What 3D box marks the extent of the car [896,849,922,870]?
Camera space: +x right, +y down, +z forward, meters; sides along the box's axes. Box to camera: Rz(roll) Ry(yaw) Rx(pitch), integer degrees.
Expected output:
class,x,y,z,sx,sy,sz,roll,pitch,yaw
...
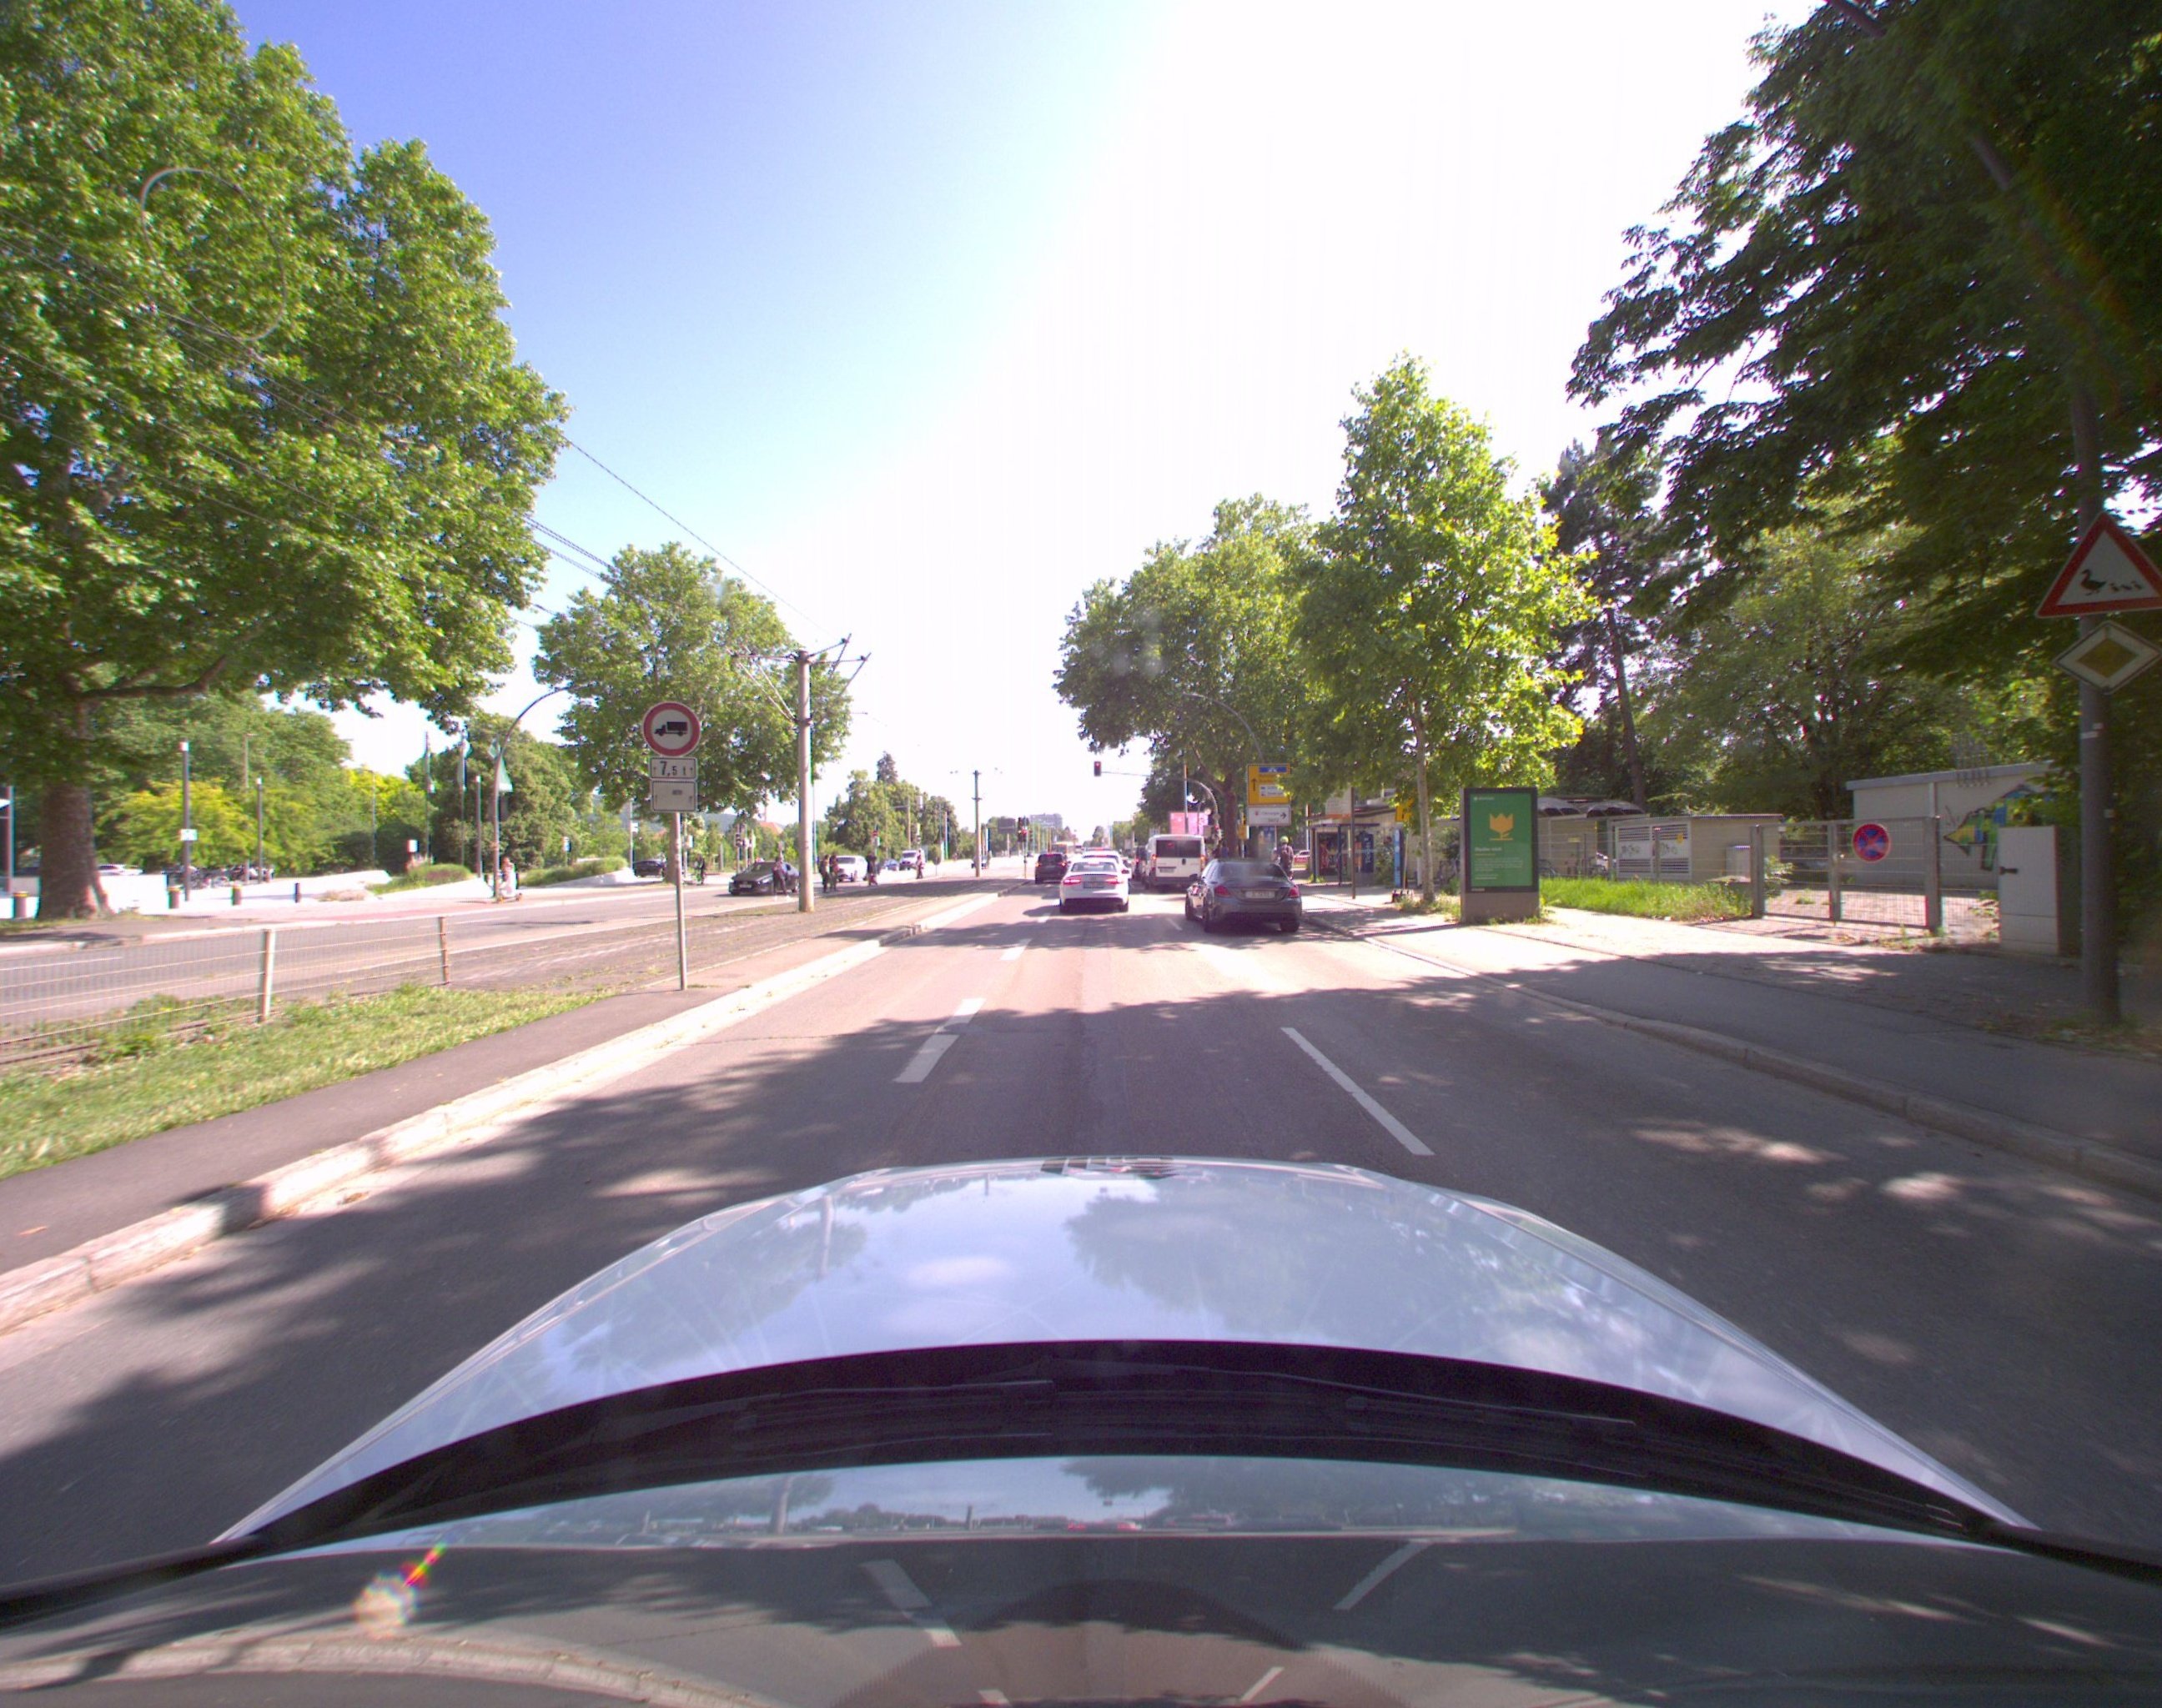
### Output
class,x,y,z,sx,sy,sz,roll,pitch,yaw
car,-20.172,0.643,95.509,2.106,2.383,4.002,-1,0,2

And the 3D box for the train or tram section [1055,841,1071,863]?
class,x,y,z,sx,sy,sz,roll,pitch,yaw
train or tram section,-3.426,-0.327,154.765,2.607,4.015,7.752,0,0,2

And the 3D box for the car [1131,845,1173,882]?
class,x,y,z,sx,sy,sz,roll,pitch,yaw
car,3.934,0.498,45.710,2.064,1.999,4.059,0,0,1

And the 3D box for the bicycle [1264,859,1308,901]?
class,x,y,z,sx,sy,sz,roll,pitch,yaw
bicycle,6.105,0.746,24.381,0.712,1.148,2.178,-3,0,0

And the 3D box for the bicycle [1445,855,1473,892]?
class,x,y,z,sx,sy,sz,roll,pitch,yaw
bicycle,12.294,0.613,26.510,0.388,1.180,1.174,0,0,2

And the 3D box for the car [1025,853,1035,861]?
class,x,y,z,sx,sy,sz,roll,pitch,yaw
car,-11.849,0.697,189.647,1.987,1.641,3.999,0,0,0

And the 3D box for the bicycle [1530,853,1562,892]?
class,x,y,z,sx,sy,sz,roll,pitch,yaw
bicycle,14.704,0.572,25.773,0.388,1.180,1.174,0,0,2

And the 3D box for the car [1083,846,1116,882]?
class,x,y,z,sx,sy,sz,roll,pitch,yaw
car,1.039,0.511,44.833,1.723,1.901,4.001,0,0,1

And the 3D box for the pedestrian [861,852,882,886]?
class,x,y,z,sx,sy,sz,roll,pitch,yaw
pedestrian,-10.747,0.748,41.834,0.770,1.734,0.756,0,0,9

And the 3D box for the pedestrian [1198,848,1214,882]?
class,x,y,z,sx,sy,sz,roll,pitch,yaw
pedestrian,6.405,0.537,41.831,0.600,1.694,0.953,-3,0,1

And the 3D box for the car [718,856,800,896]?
class,x,y,z,sx,sy,sz,roll,pitch,yaw
car,-13.834,0.899,35.243,1.864,1.609,4.001,0,0,2

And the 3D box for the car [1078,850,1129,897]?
class,x,y,z,sx,sy,sz,roll,pitch,yaw
car,0.826,0.675,29.979,1.723,1.605,3.886,0,0,1

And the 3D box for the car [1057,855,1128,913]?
class,x,y,z,sx,sy,sz,roll,pitch,yaw
car,0.340,0.752,22.288,1.778,1.420,3.886,0,0,1

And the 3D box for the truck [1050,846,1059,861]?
class,x,y,z,sx,sy,sz,roll,pitch,yaw
truck,-6.119,-0.048,189.348,1.988,3.325,6.018,-1,0,-1

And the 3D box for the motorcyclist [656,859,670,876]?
class,x,y,z,sx,sy,sz,roll,pitch,yaw
motorcyclist,-33.070,1.041,64.400,0.750,1.314,0.604,0,0,1

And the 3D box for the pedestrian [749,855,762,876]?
class,x,y,z,sx,sy,sz,roll,pitch,yaw
pedestrian,-23.888,0.840,59.775,0.620,1.542,0.644,0,0,0

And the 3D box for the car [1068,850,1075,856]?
class,x,y,z,sx,sy,sz,roll,pitch,yaw
car,-2.857,-0.253,241.753,1.863,1.609,4.004,0,0,3

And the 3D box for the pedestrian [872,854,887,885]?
class,x,y,z,sx,sy,sz,roll,pitch,yaw
pedestrian,-10.525,0.808,42.581,0.532,1.598,0.580,0,0,20

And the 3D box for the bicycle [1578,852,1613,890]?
class,x,y,z,sx,sy,sz,roll,pitch,yaw
bicycle,16.464,0.542,26.088,0.388,1.180,1.174,0,0,2

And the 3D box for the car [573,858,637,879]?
class,x,y,z,sx,sy,sz,roll,pitch,yaw
car,-36.632,1.114,62.749,3.833,1.549,1.770,0,0,1

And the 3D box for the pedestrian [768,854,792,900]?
class,x,y,z,sx,sy,sz,roll,pitch,yaw
pedestrian,-10.824,0.823,29.297,0.761,1.623,0.590,0,0,-24

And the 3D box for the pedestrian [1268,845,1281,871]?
class,x,y,z,sx,sy,sz,roll,pitch,yaw
pedestrian,13.507,0.258,56.777,0.773,1.788,0.766,-1,0,8

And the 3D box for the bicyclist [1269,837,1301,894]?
class,x,y,z,sx,sy,sz,roll,pitch,yaw
bicyclist,6.068,0.333,24.282,0.632,1.648,0.979,-3,0,0

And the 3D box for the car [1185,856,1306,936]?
class,x,y,z,sx,sy,sz,roll,pitch,yaw
car,3.235,0.769,16.783,1.776,1.420,4.001,0,0,1

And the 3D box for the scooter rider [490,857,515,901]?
class,x,y,z,sx,sy,sz,roll,pitch,yaw
scooter rider,-21.615,0.924,30.430,0.504,1.631,0.566,0,0,1

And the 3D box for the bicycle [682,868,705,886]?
class,x,y,z,sx,sy,sz,roll,pitch,yaw
bicycle,-21.552,1.270,45.325,0.482,0.961,1.655,0,0,2

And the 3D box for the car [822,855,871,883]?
class,x,y,z,sx,sy,sz,roll,pitch,yaw
car,-14.340,0.878,50.014,1.757,1.609,3.861,0,0,2

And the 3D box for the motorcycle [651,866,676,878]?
class,x,y,z,sx,sy,sz,roll,pitch,yaw
motorcycle,-32.980,1.402,64.390,1.638,0.891,0.650,0,0,1

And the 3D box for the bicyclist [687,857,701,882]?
class,x,y,z,sx,sy,sz,roll,pitch,yaw
bicyclist,-21.548,0.863,45.365,0.478,1.416,0.592,0,0,1

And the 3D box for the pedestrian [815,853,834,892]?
class,x,y,z,sx,sy,sz,roll,pitch,yaw
pedestrian,-10.957,0.798,34.798,0.590,1.646,0.554,0,0,1

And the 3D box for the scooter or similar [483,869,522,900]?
class,x,y,z,sx,sy,sz,roll,pitch,yaw
scooter or similar,-21.617,1.126,30.436,0.545,1.112,1.248,0,0,2

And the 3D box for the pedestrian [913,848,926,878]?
class,x,y,z,sx,sy,sz,roll,pitch,yaw
pedestrian,-10.273,0.569,51.859,0.621,1.918,0.690,0,0,1

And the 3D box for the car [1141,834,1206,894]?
class,x,y,z,sx,sy,sz,roll,pitch,yaw
car,3.589,0.378,32.435,2.222,2.212,4.163,0,0,1

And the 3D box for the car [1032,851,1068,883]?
class,x,y,z,sx,sy,sz,roll,pitch,yaw
car,-1.655,0.683,44.694,1.723,1.631,4.001,0,0,1

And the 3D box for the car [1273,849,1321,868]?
class,x,y,z,sx,sy,sz,roll,pitch,yaw
car,19.098,0.379,72.142,3.763,1.672,1.794,0,0,2

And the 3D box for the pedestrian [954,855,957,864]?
class,x,y,z,sx,sy,sz,roll,pitch,yaw
pedestrian,-21.388,0.945,138.993,0.419,1.549,0.552,0,0,1

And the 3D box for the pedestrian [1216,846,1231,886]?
class,x,y,z,sx,sy,sz,roll,pitch,yaw
pedestrian,7.050,0.596,40.374,0.633,1.946,0.719,0,0,1

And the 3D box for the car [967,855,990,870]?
class,x,y,z,sx,sy,sz,roll,pitch,yaw
car,-11.509,0.935,91.403,1.986,1.734,4.001,0,0,2

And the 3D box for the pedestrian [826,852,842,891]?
class,x,y,z,sx,sy,sz,roll,pitch,yaw
pedestrian,-10.912,0.762,35.983,0.490,1.679,0.644,0,0,1

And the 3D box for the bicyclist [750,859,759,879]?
class,x,y,z,sx,sy,sz,roll,pitch,yaw
bicyclist,-21.409,0.956,53.395,0.384,1.311,0.466,0,0,1

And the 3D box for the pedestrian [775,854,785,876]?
class,x,y,z,sx,sy,sz,roll,pitch,yaw
pedestrian,-21.835,0.809,59.041,0.625,1.542,0.776,0,0,-25

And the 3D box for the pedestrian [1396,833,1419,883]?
class,x,y,z,sx,sy,sz,roll,pitch,yaw
pedestrian,12.510,0.142,31.208,0.611,1.896,0.597,-1,0,-2

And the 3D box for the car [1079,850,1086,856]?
class,x,y,z,sx,sy,sz,roll,pitch,yaw
car,0.357,-0.274,241.400,1.863,1.609,4.004,0,0,3

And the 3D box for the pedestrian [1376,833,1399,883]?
class,x,y,z,sx,sy,sz,roll,pitch,yaw
pedestrian,11.733,0.160,31.190,0.611,1.896,0.694,-1,0,-2

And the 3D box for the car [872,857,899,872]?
class,x,y,z,sx,sy,sz,roll,pitch,yaw
car,-21.125,1.120,88.068,1.823,1.519,3.947,0,0,2
